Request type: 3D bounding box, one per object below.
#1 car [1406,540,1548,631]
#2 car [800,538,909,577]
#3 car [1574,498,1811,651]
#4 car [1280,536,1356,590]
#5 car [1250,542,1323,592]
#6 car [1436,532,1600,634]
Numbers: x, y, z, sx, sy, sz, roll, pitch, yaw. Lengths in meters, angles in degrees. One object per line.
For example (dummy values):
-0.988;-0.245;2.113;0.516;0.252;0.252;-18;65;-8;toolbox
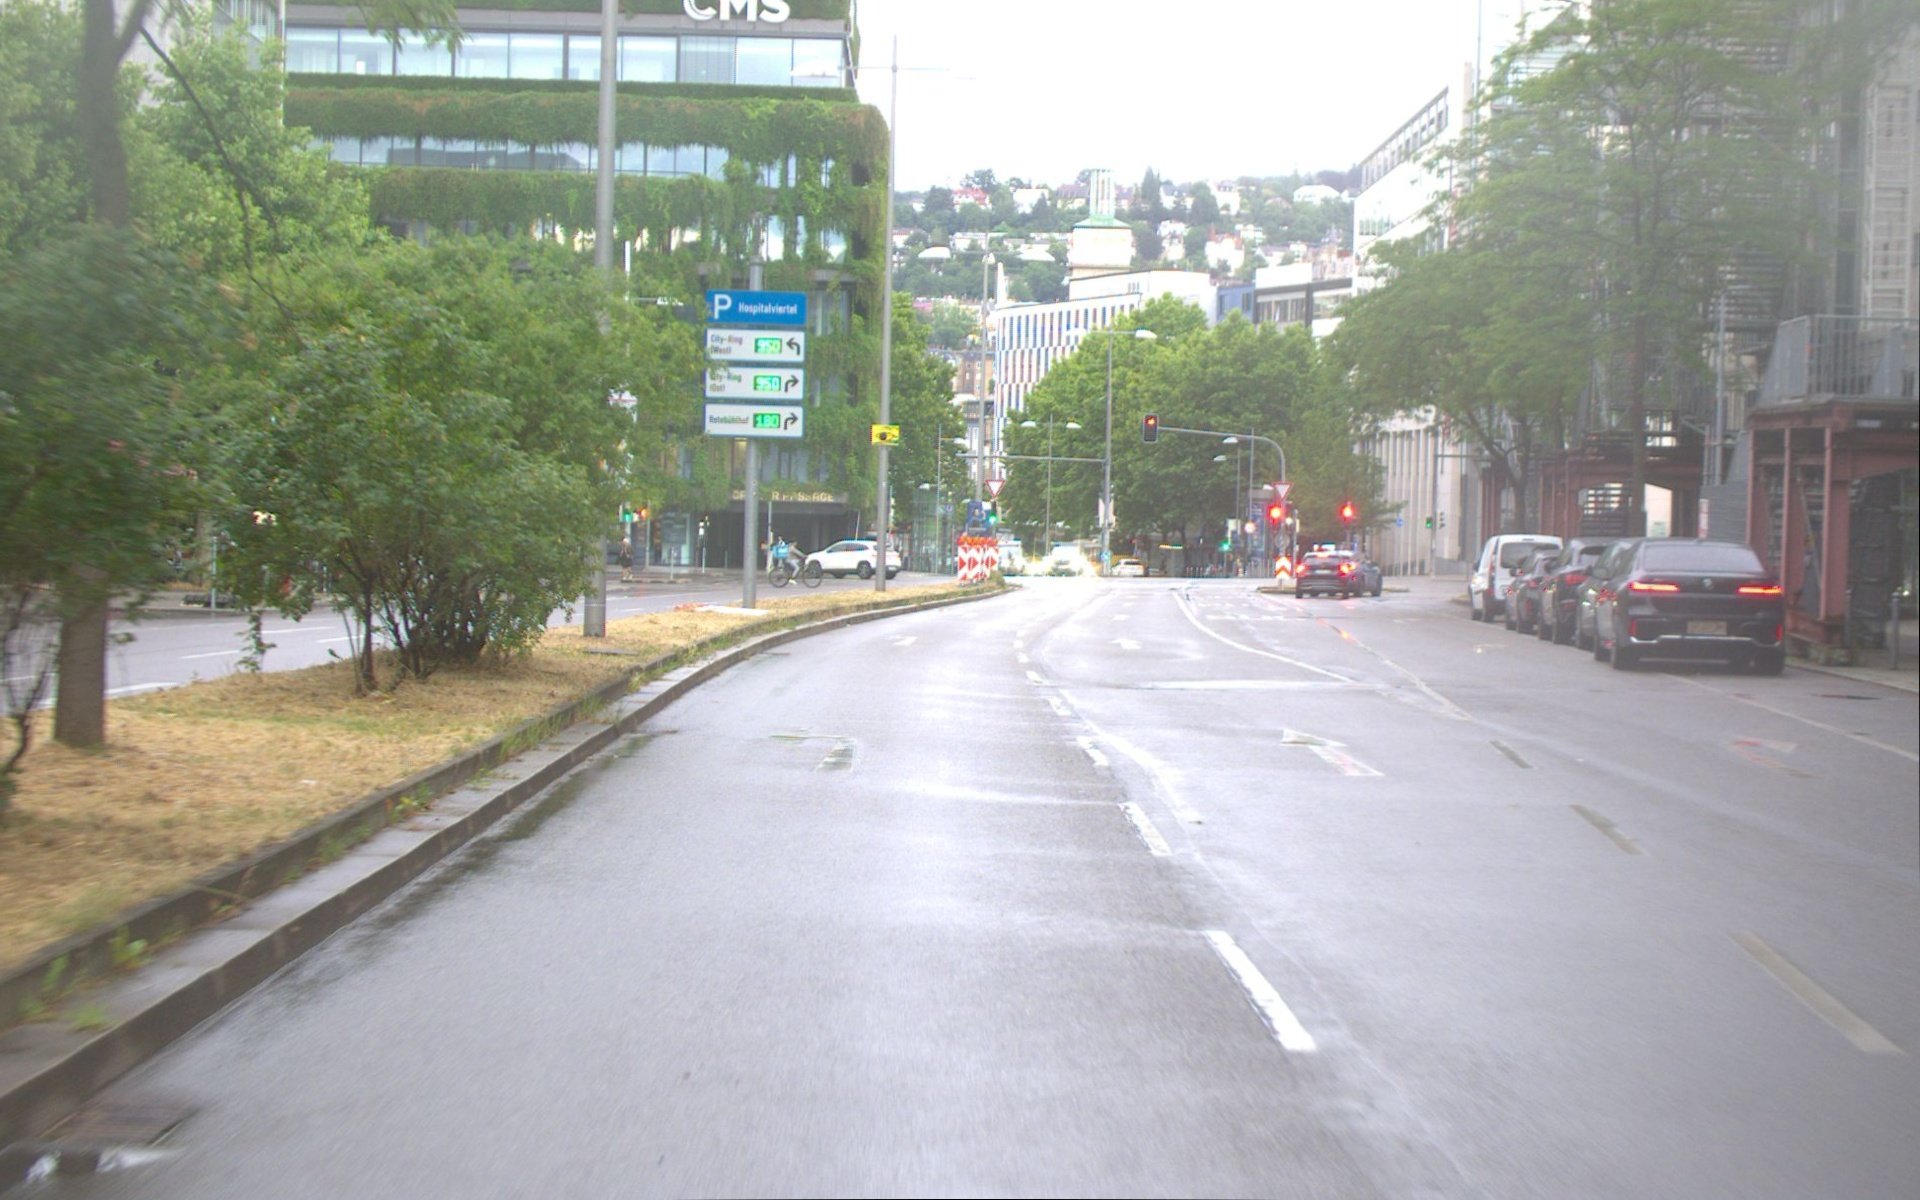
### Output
8.830;-0.275;58.990;1.844;1.487;4.000;1;1;0;car
-4.463;-1.812;145.417;4.294;1.634;1.831;1;2;31;car
8.554;-0.323;40.496;2.339;1.685;3.999;1;1;7;car
11.733;-1.197;112.791;1.993;1.718;4.000;1;0;-1;car
11.799;-1.181;123.939;1.995;1.730;3.997;1;0;15;car
8.446;-0.284;52.297;1.844;1.487;4.000;1;1;0;car
